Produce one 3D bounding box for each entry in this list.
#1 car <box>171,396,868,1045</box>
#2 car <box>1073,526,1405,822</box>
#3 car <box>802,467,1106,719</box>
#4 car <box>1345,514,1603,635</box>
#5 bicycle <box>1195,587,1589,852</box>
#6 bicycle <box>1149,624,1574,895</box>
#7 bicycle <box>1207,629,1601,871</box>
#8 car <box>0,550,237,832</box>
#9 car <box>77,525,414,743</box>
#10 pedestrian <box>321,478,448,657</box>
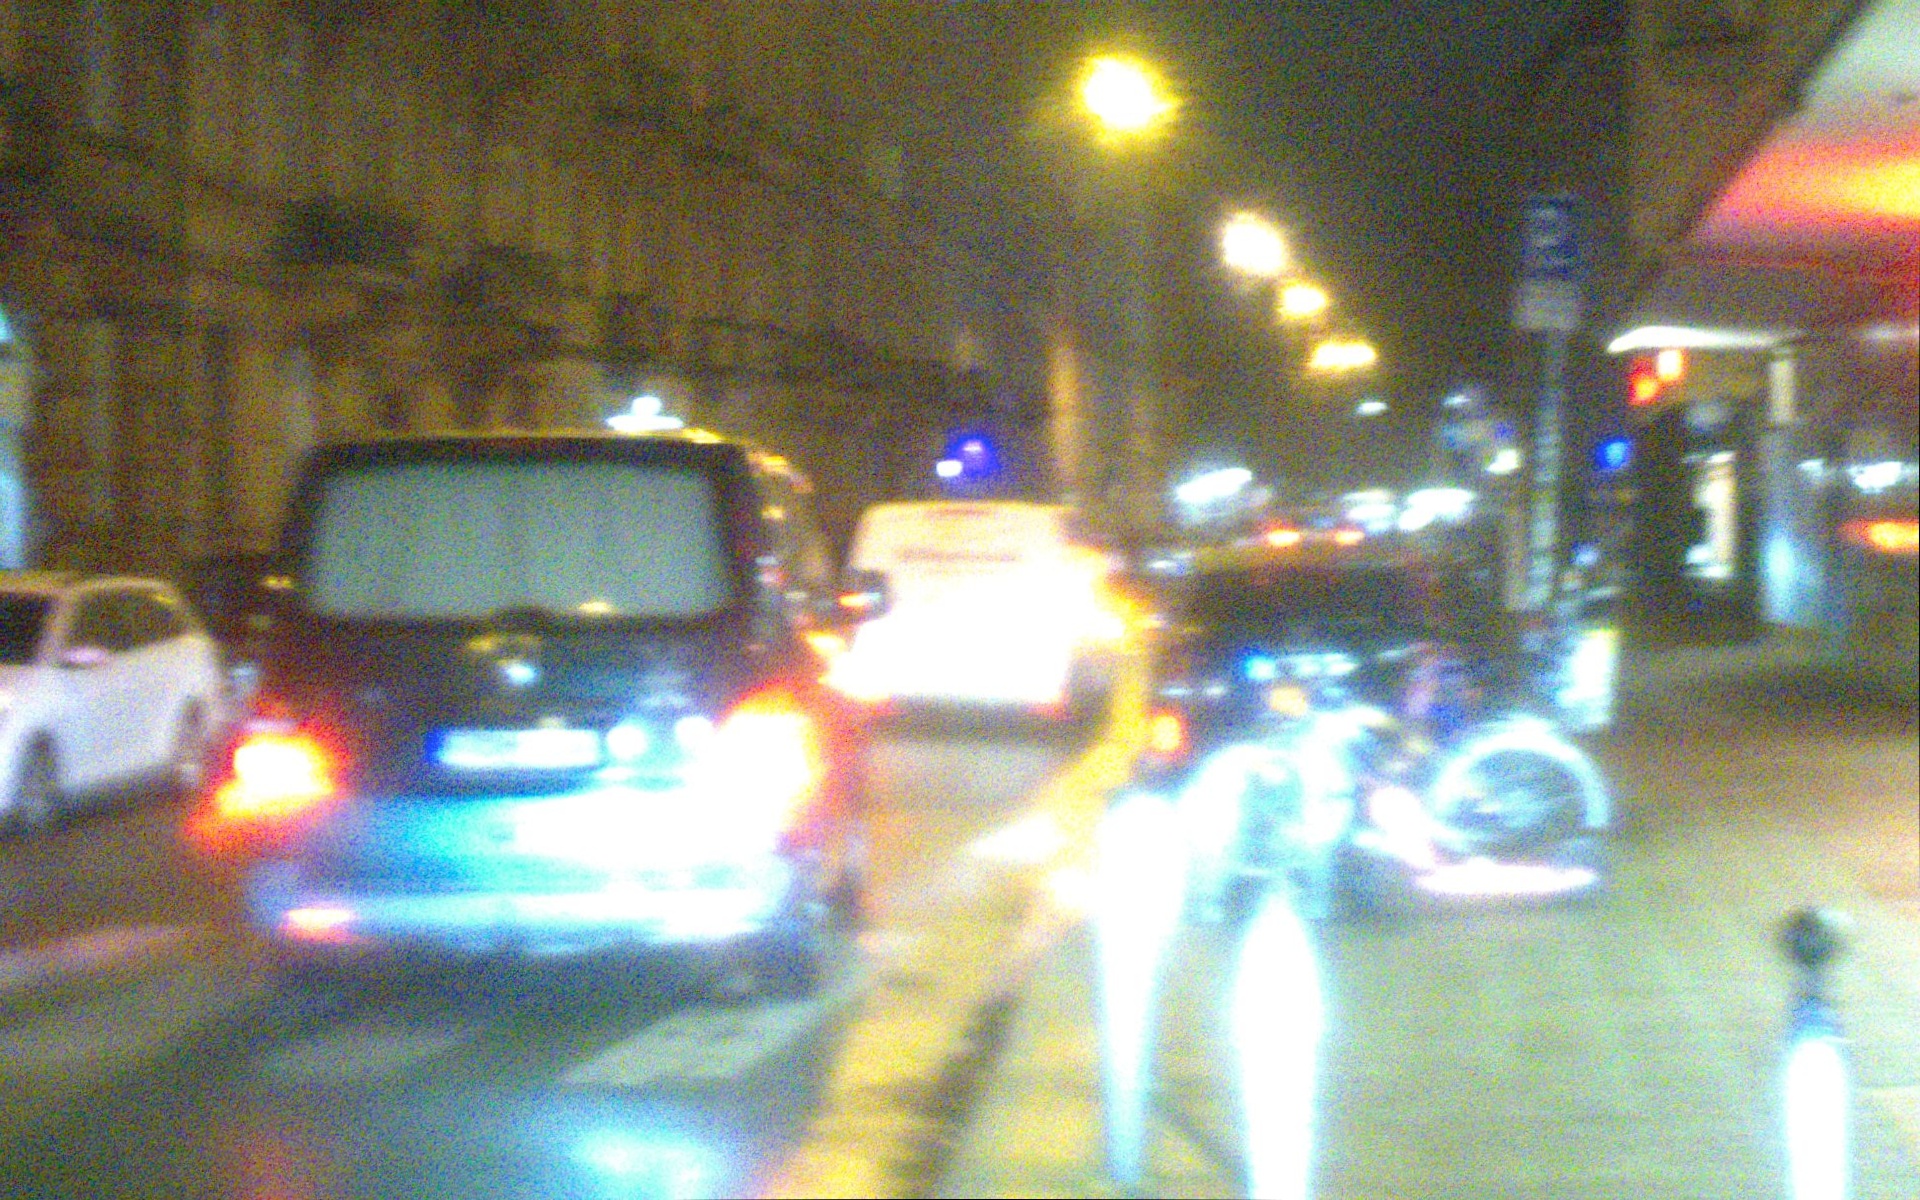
[{"bbox_3d":[-1.445,0.308,12.848,2.122,1.984,4.602,0,1,-2],"label":"car"},{"bbox_3d":[1.741,0.369,20.491,1.753,1.560,4.153,1,1,7],"label":"car"},{"bbox_3d":[0.048,-0.133,28.767,2.123,1.915,4.825,0,2,5],"label":"car"},{"bbox_3d":[8.896,-0.440,59.646,3.986,2.007,2.000,-1,0,-8],"label":"car"},{"bbox_3d":[2.049,0.566,16.369,1.762,1.121,0.435,-4,1,7],"label":"bicycle"},{"bbox_3d":[1.733,0.687,14.895,1.783,1.121,0.435,-1,2,7],"label":"bicycle"},{"bbox_3d":[2.034,0.687,15.808,1.762,1.075,0.435,-1,2,7],"label":"bicycle"},{"bbox_3d":[-5.901,0.490,20.924,1.587,1.458,4.023,3,2,9],"label":"car"},{"bbox_3d":[-5.262,0.205,25.619,1.587,1.504,2.786,0,2,9],"label":"car"},{"bbox_3d":[-6.116,-0.353,36.569,1.032,1.858,0.977,2,1,9],"label":"pedestrian"}]
